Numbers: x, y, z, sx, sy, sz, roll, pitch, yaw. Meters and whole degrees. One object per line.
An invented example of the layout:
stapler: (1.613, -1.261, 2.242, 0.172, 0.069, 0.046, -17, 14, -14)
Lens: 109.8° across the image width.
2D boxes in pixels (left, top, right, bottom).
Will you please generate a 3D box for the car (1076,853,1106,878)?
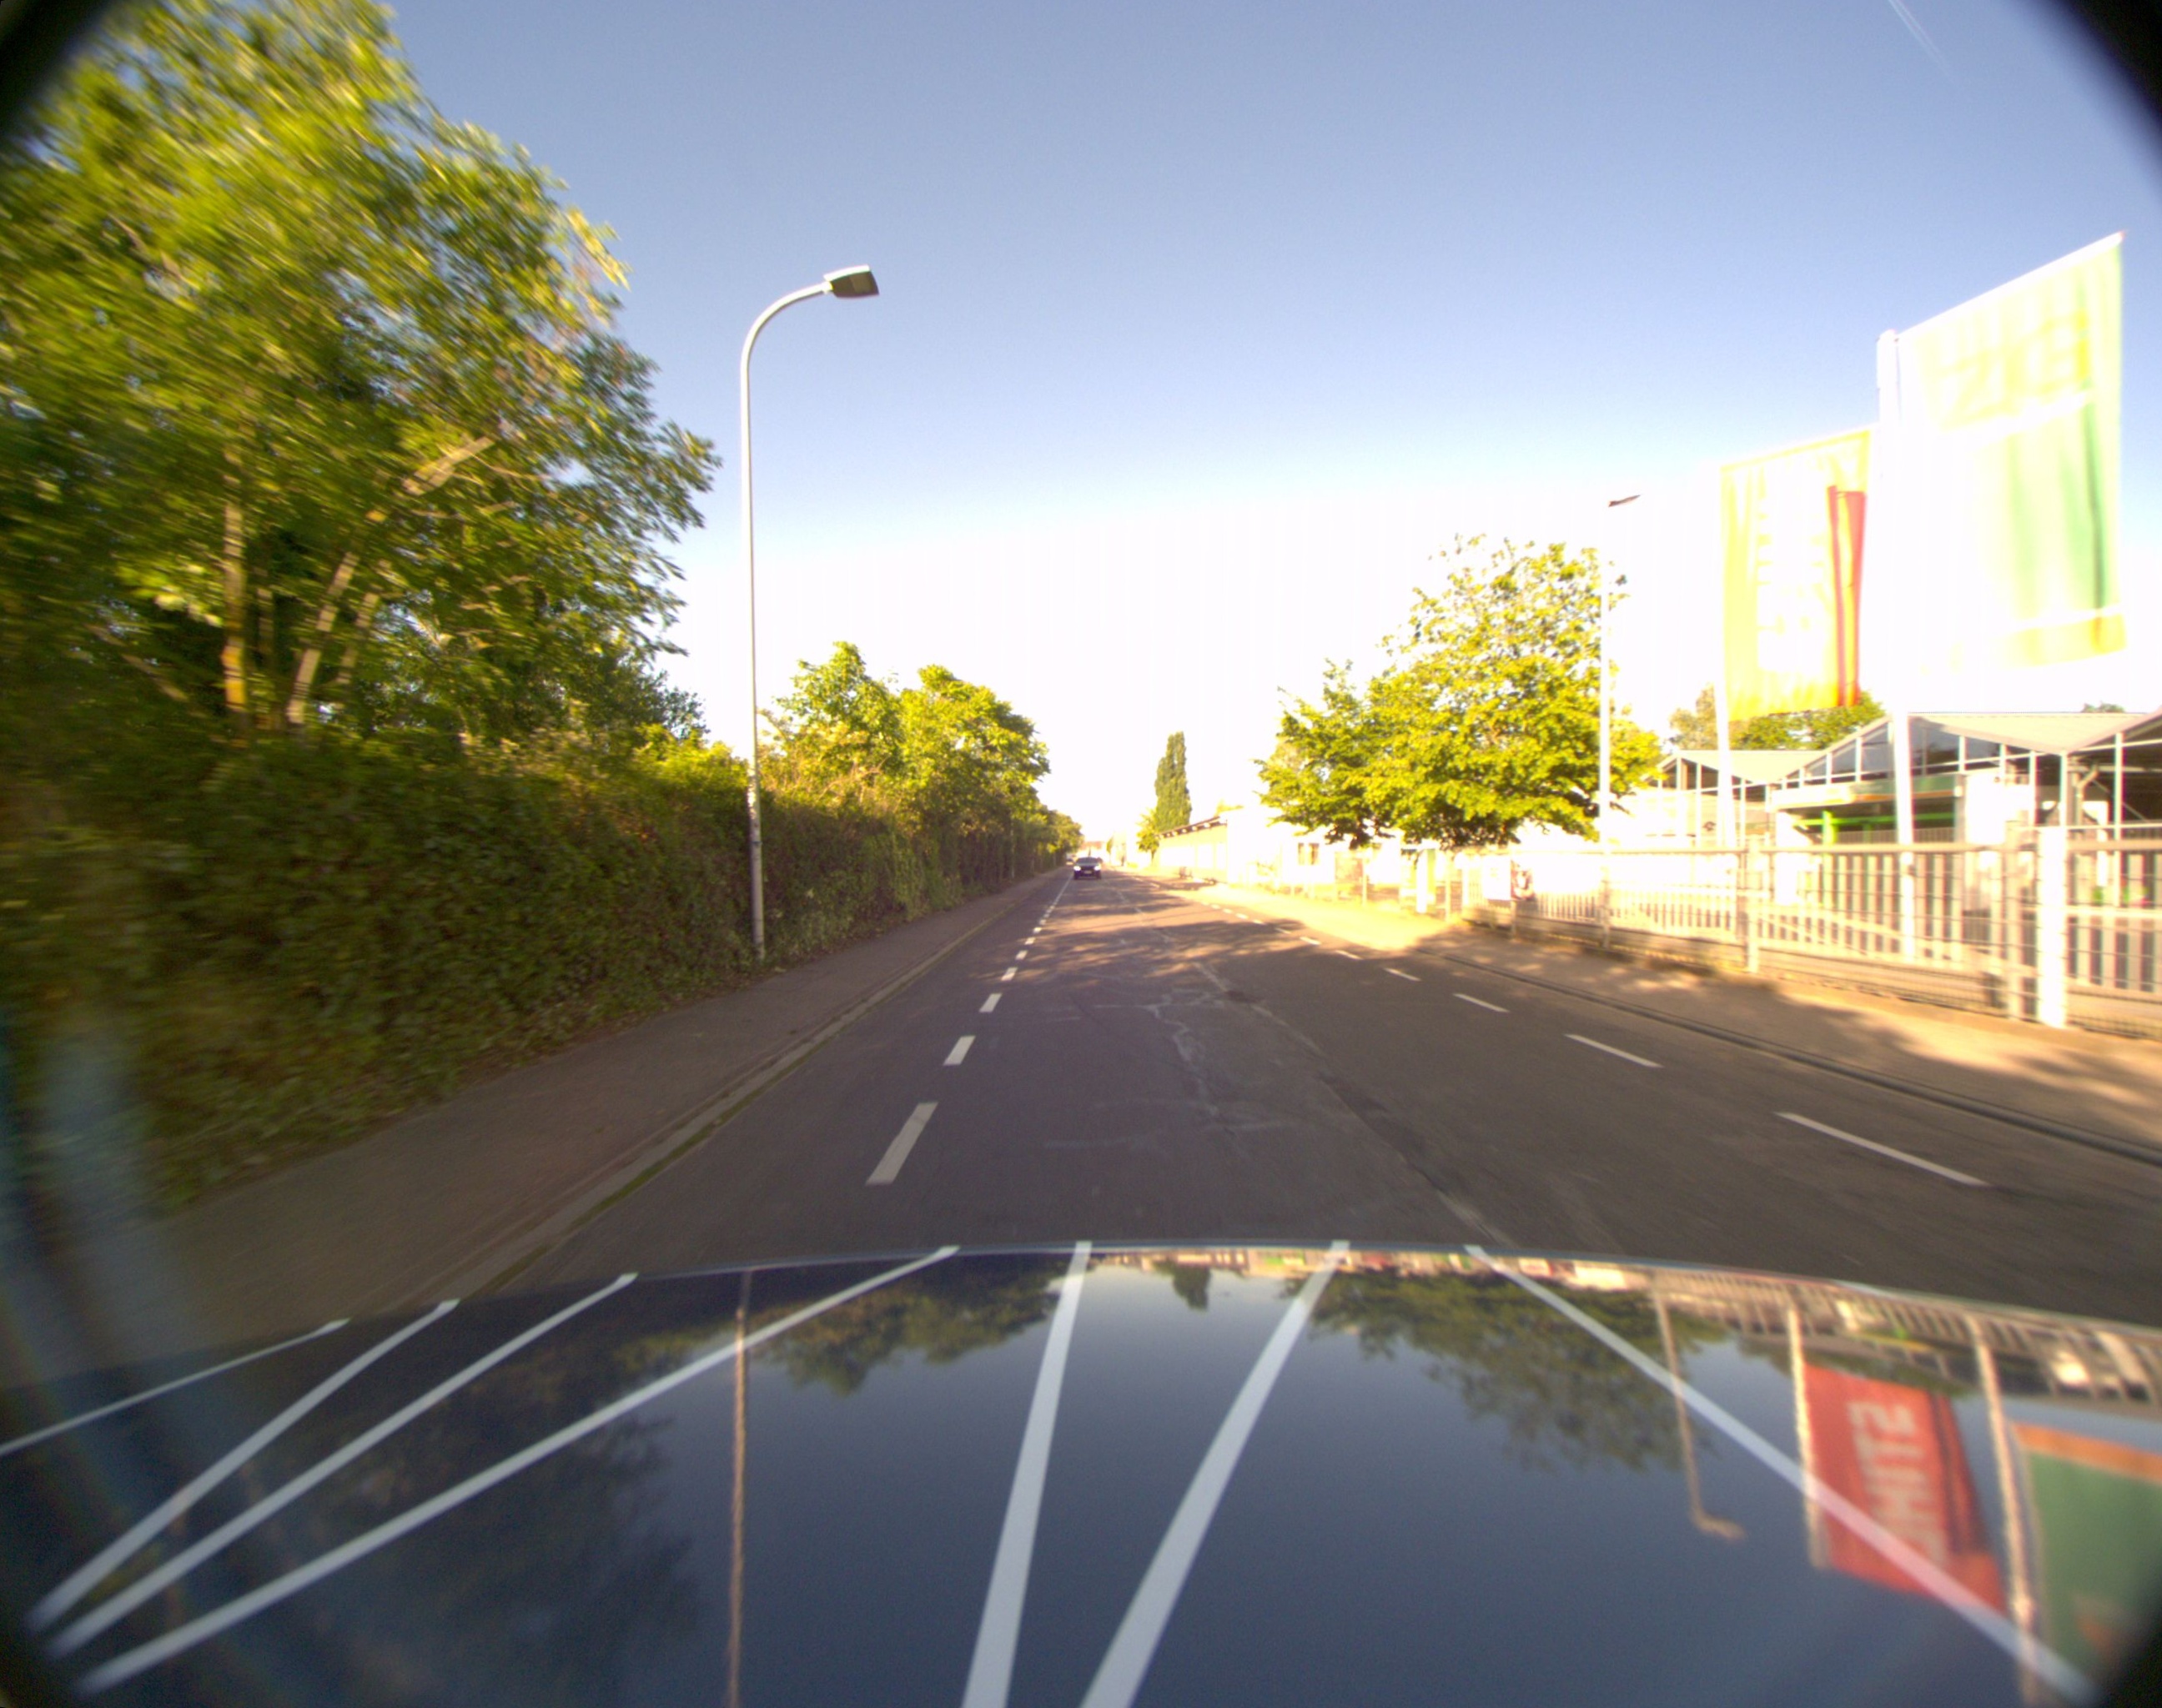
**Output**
car: (0.737, 0.800, 56.003, 1.998, 1.608, 4.000, -3, 1, 1)
